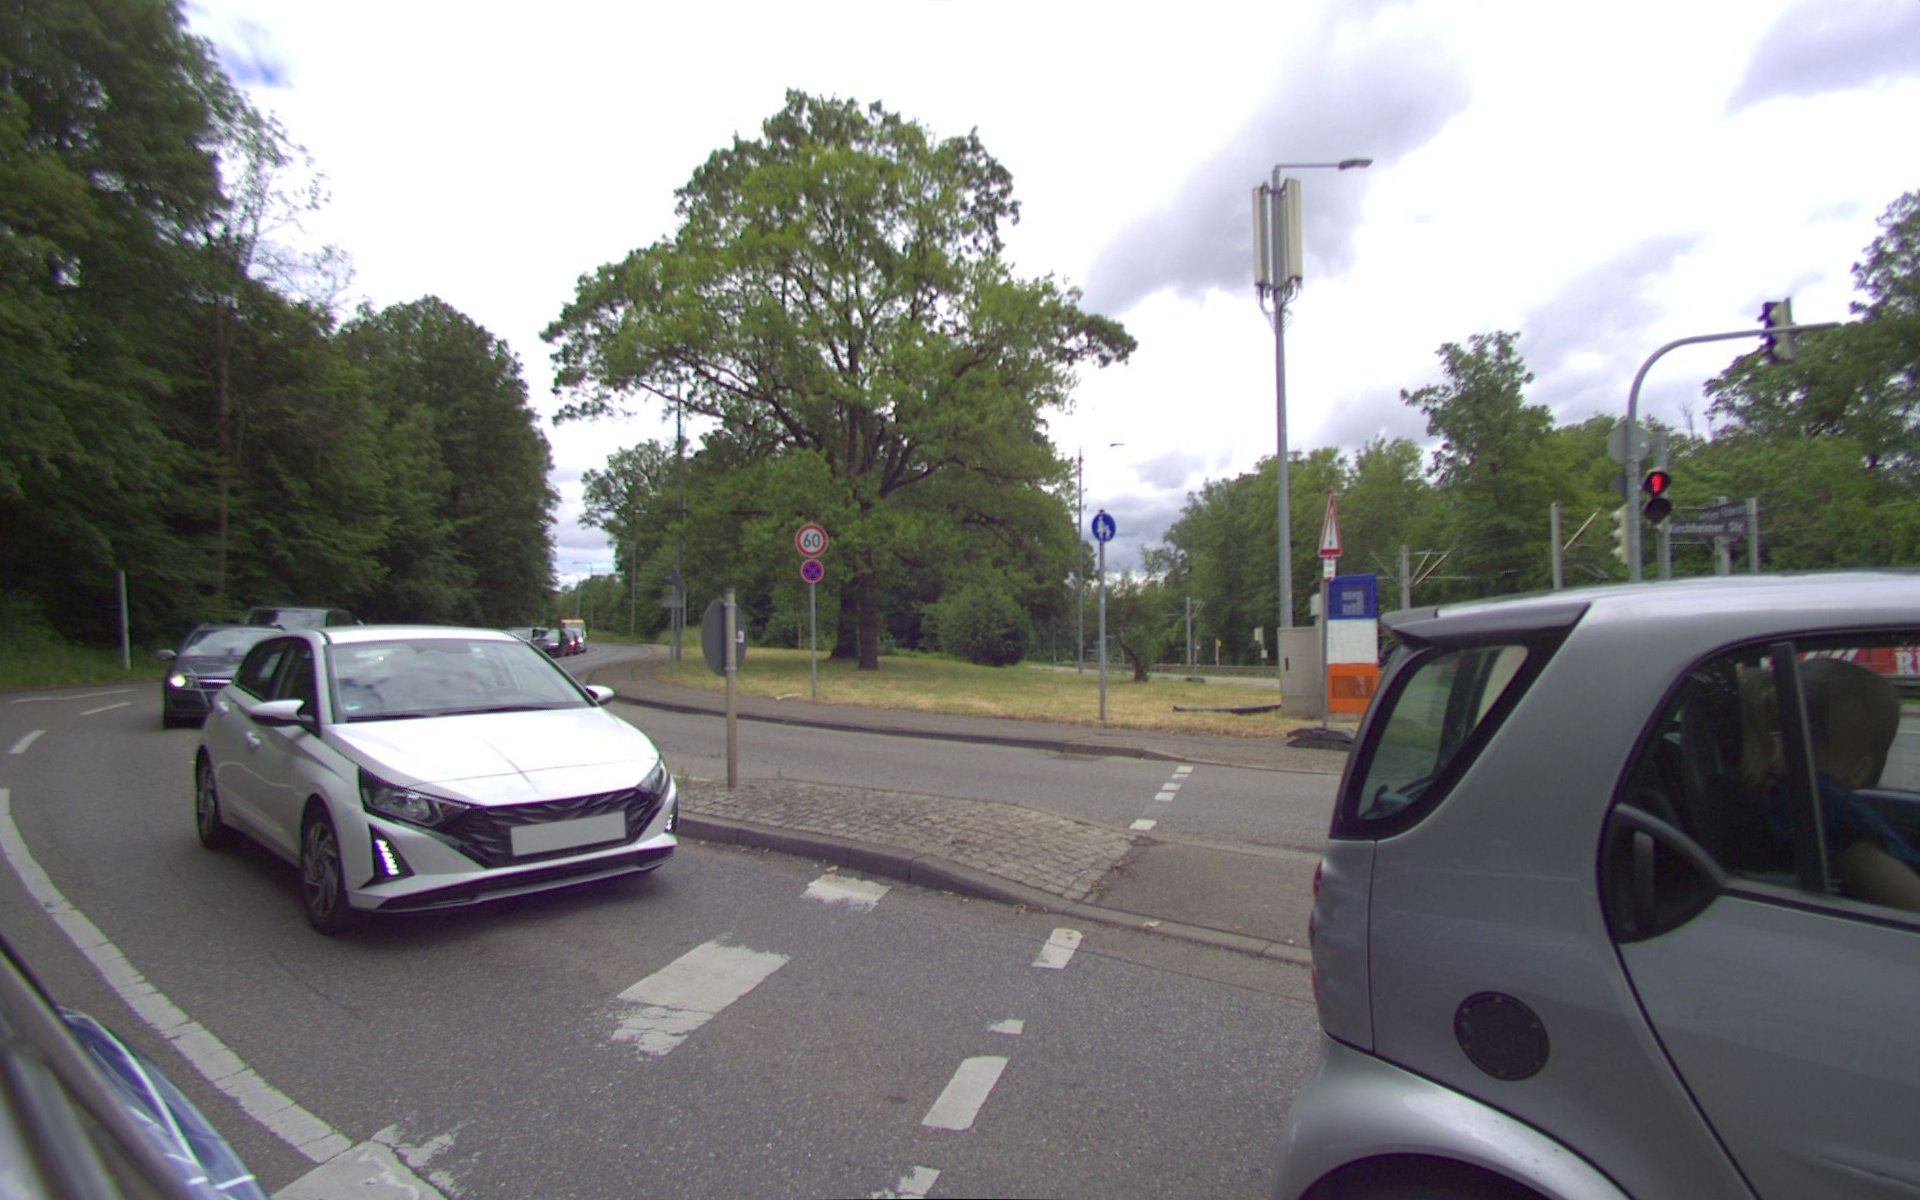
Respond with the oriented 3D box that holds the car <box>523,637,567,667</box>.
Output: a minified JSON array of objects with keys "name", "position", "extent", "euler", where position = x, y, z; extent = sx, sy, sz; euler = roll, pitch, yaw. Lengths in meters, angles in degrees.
[{"name":"car","position":[-22.039,2.773,53.910],"extent":[1.749,1.511,3.884],"euler":[1,-3,-16]}]

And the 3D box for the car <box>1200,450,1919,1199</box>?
[{"name":"car","position":[1.946,0.632,1.593],"extent":[2.723,1.598,1.444],"euler":[-1,-3,37]}]

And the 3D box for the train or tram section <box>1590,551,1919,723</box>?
[{"name":"train or tram section","position":[27.474,1.093,32.198],"extent":[2.914,4.686,18.548],"euler":[1,-1,-1]}]

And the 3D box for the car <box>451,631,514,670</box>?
[{"name":"car","position":[-19.718,2.091,41.897],"extent":[1.749,1.511,3.884],"euler":[1,-3,-16]}]

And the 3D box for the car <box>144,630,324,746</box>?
[{"name":"car","position":[-10.892,1.241,15.481],"extent":[1.773,1.490,4.483],"euler":[2,-3,-30]}]

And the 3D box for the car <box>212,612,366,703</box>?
[{"name":"car","position":[-15.394,1.313,23.495],"extent":[1.957,1.887,4.546],"euler":[2,-3,-21]}]

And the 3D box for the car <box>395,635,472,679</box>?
[{"name":"car","position":[-19.047,2.052,36.761],"extent":[1.749,1.511,3.884],"euler":[1,-3,-16]}]

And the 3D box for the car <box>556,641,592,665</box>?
[{"name":"car","position":[-25.773,3.532,67.726],"extent":[1.750,1.511,3.883],"euler":[1,-3,-13]}]

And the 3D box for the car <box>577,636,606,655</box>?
[{"name":"car","position":[-30.286,3.717,83.188],"extent":[1.750,1.511,3.883],"euler":[1,-3,-13]}]

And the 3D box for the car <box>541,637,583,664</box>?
[{"name":"car","position":[-23.430,2.972,59.624],"extent":[1.750,1.511,3.883],"euler":[1,-3,-13]}]

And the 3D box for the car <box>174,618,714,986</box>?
[{"name":"car","position":[-3.334,0.899,6.133],"extent":[4.074,1.490,1.631],"euler":[-2,-4,44]}]

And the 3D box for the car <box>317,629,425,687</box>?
[{"name":"car","position":[-18.198,1.770,31.474],"extent":[1.764,1.687,4.001],"euler":[0,-2,-13]}]

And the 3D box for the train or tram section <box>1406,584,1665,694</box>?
[{"name":"train or tram section","position":[27.729,1.746,50.851],"extent":[2.926,4.452,18.716],"euler":[1,-1,2]}]

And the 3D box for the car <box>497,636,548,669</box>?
[{"name":"car","position":[-20.849,2.489,48.400],"extent":[1.749,1.511,3.884],"euler":[1,-3,-16]}]
